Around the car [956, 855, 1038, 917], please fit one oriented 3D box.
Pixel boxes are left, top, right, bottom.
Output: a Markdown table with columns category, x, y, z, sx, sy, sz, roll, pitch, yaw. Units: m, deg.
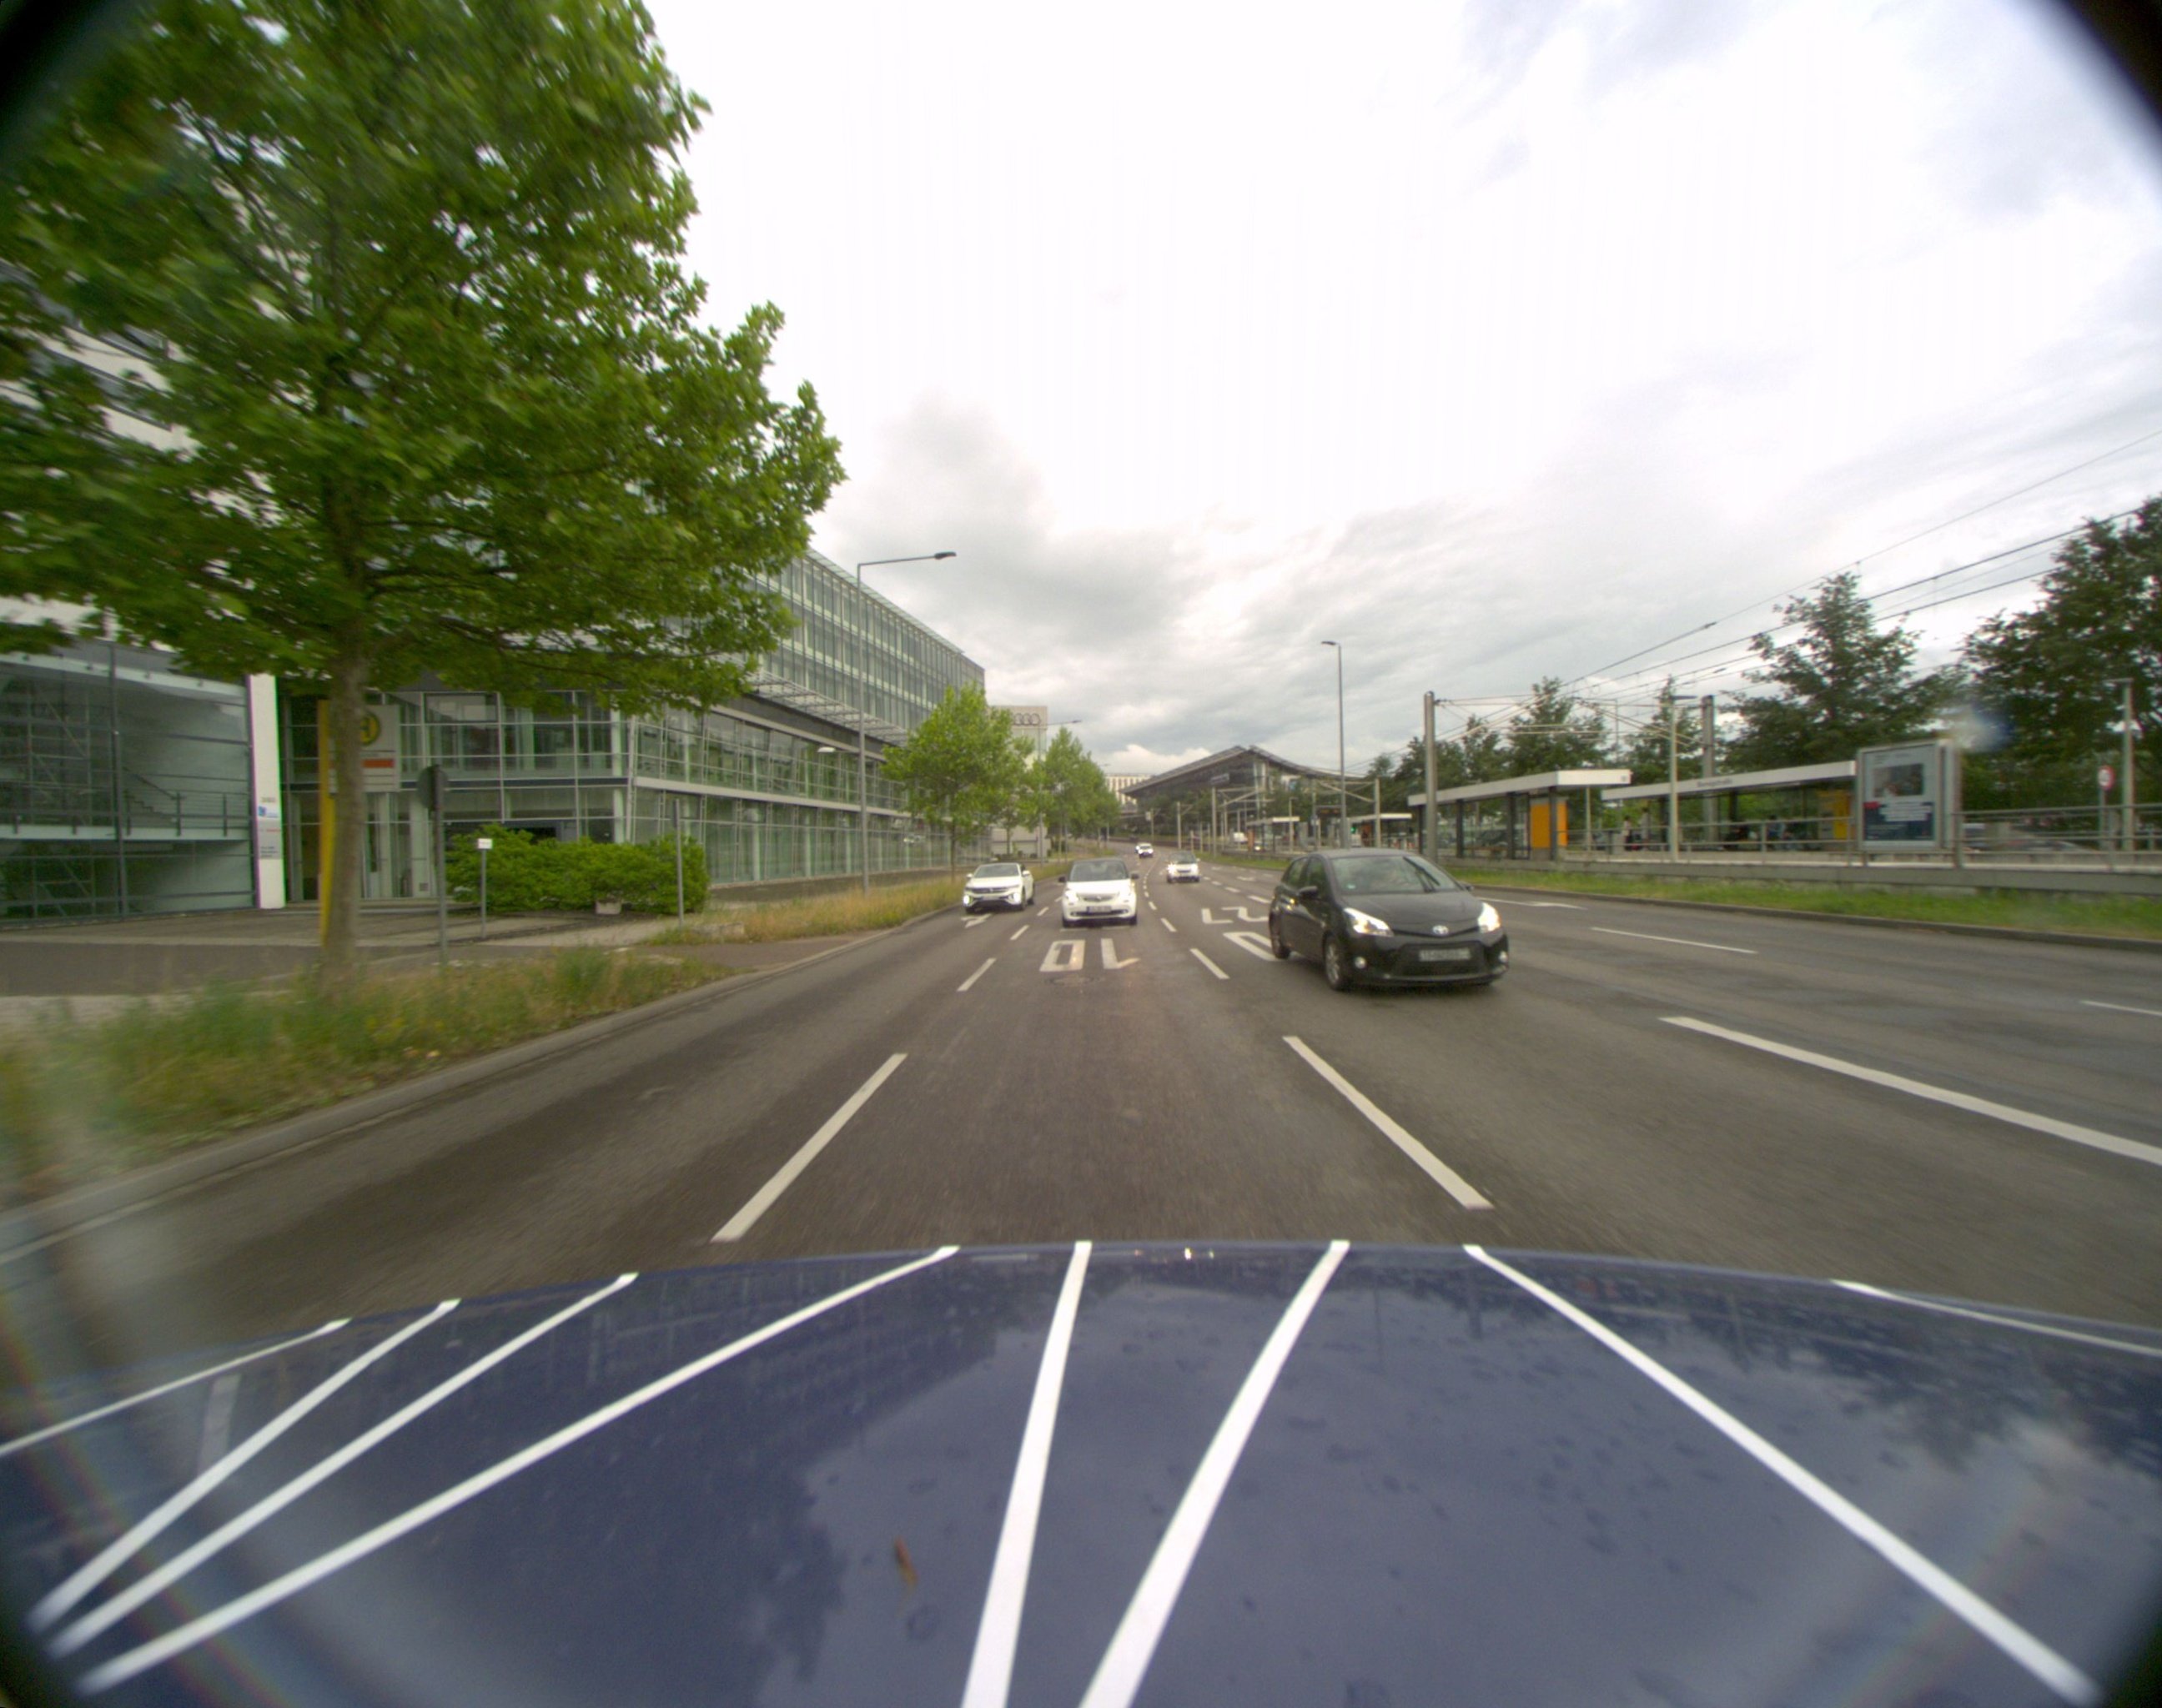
| category | x | y | z | sx | sy | sz | roll | pitch | yaw |
| --- | --- | --- | --- | --- | --- | --- | --- | --- | --- |
| car | -2.584 | 0.931 | 24.213 | 1.998 | 1.669 | 3.822 | -3 | 1 | 2 |

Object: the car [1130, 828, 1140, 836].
| category | x | y | z | sx | sy | sz | roll | pitch | yaw |
| --- | --- | --- | --- | --- | --- | --- | --- | --- | --- |
| car | 14.361 | -5.912 | 202.821 | 1.999 | 1.837 | 3.998 | -4 | 1 | -2 |

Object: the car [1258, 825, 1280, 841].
| category | x | y | z | sx | sy | sz | roll | pitch | yaw |
| --- | --- | --- | --- | --- | --- | --- | --- | --- | --- |
| car | 28.421 | -3.198 | 114.741 | 1.998 | 2.202 | 5.142 | -4 | 1 | 1 |

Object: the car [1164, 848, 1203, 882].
| category | x | y | z | sx | sy | sz | roll | pitch | yaw |
| --- | --- | --- | --- | --- | --- | --- | --- | --- | --- |
| car | 5.153 | 0.513 | 38.166 | 1.739 | 1.470 | 4.002 | -3 | 1 | 8 |

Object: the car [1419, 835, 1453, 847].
| category | x | y | z | sx | sy | sz | roll | pitch | yaw |
| --- | --- | --- | --- | --- | --- | --- | --- | --- | --- |
| car | 35.848 | -1.309 | 76.859 | 1.530 | 1.124 | 3.933 | -4 | 1 | -1 |

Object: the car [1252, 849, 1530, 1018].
| category | x | y | z | sx | sy | sz | roll | pitch | yaw |
| --- | --- | --- | --- | --- | --- | --- | --- | --- | --- |
| car | 3.388 | 0.767 | 9.178 | 1.697 | 1.514 | 3.904 | -3 | 0 | 0 |

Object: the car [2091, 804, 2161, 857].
| category | x | y | z | sx | sy | sz | roll | pitch | yaw |
| --- | --- | --- | --- | --- | --- | --- | --- | --- | --- |
| car | 32.652 | -0.695 | 21.873 | 1.791 | 1.494 | 3.998 | -4 | 1 | -1 |

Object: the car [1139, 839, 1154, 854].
| category | x | y | z | sx | sy | sz | roll | pitch | yaw |
| --- | --- | --- | --- | --- | --- | --- | --- | --- | --- |
| car | 8.501 | -0.961 | 98.164 | 1.828 | 1.701 | 4.154 | -4 | 1 | 5 |

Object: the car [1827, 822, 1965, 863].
| category | x | y | z | sx | sy | sz | roll | pitch | yaw |
| --- | --- | --- | --- | --- | --- | --- | --- | --- | --- |
| car | 35.479 | -0.507 | 33.261 | 1.576 | 1.617 | 4.081 | -4 | 1 | -1 |

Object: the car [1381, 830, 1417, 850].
| category | x | y | z | sx | sy | sz | roll | pitch | yaw |
| --- | --- | --- | --- | --- | --- | --- | --- | --- | --- |
| car | 29.526 | -1.313 | 70.633 | 1.532 | 1.657 | 4.268 | -4 | 1 | 0 |

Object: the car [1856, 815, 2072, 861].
| category | x | y | z | sx | sy | sz | roll | pitch | yaw |
| --- | --- | --- | --- | --- | --- | --- | --- | --- | --- |
| car | 28.764 | -0.519 | 25.006 | 1.913 | 1.257 | 4.412 | -4 | 1 | -1 |

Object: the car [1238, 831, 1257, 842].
| category | x | y | z | sx | sy | sz | roll | pitch | yaw |
| --- | --- | --- | --- | --- | --- | --- | --- | --- | --- |
| car | 28.125 | -3.033 | 128.744 | 1.999 | 1.721 | 5.029 | -4 | 1 | 0 |

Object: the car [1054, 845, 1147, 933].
| category | x | y | z | sx | sy | sz | roll | pitch | yaw |
| --- | --- | --- | --- | --- | --- | --- | --- | --- | --- |
| car | 0.467 | 0.755 | 17.658 | 1.805 | 1.712 | 4.001 | -4 | -1 | 2 |
